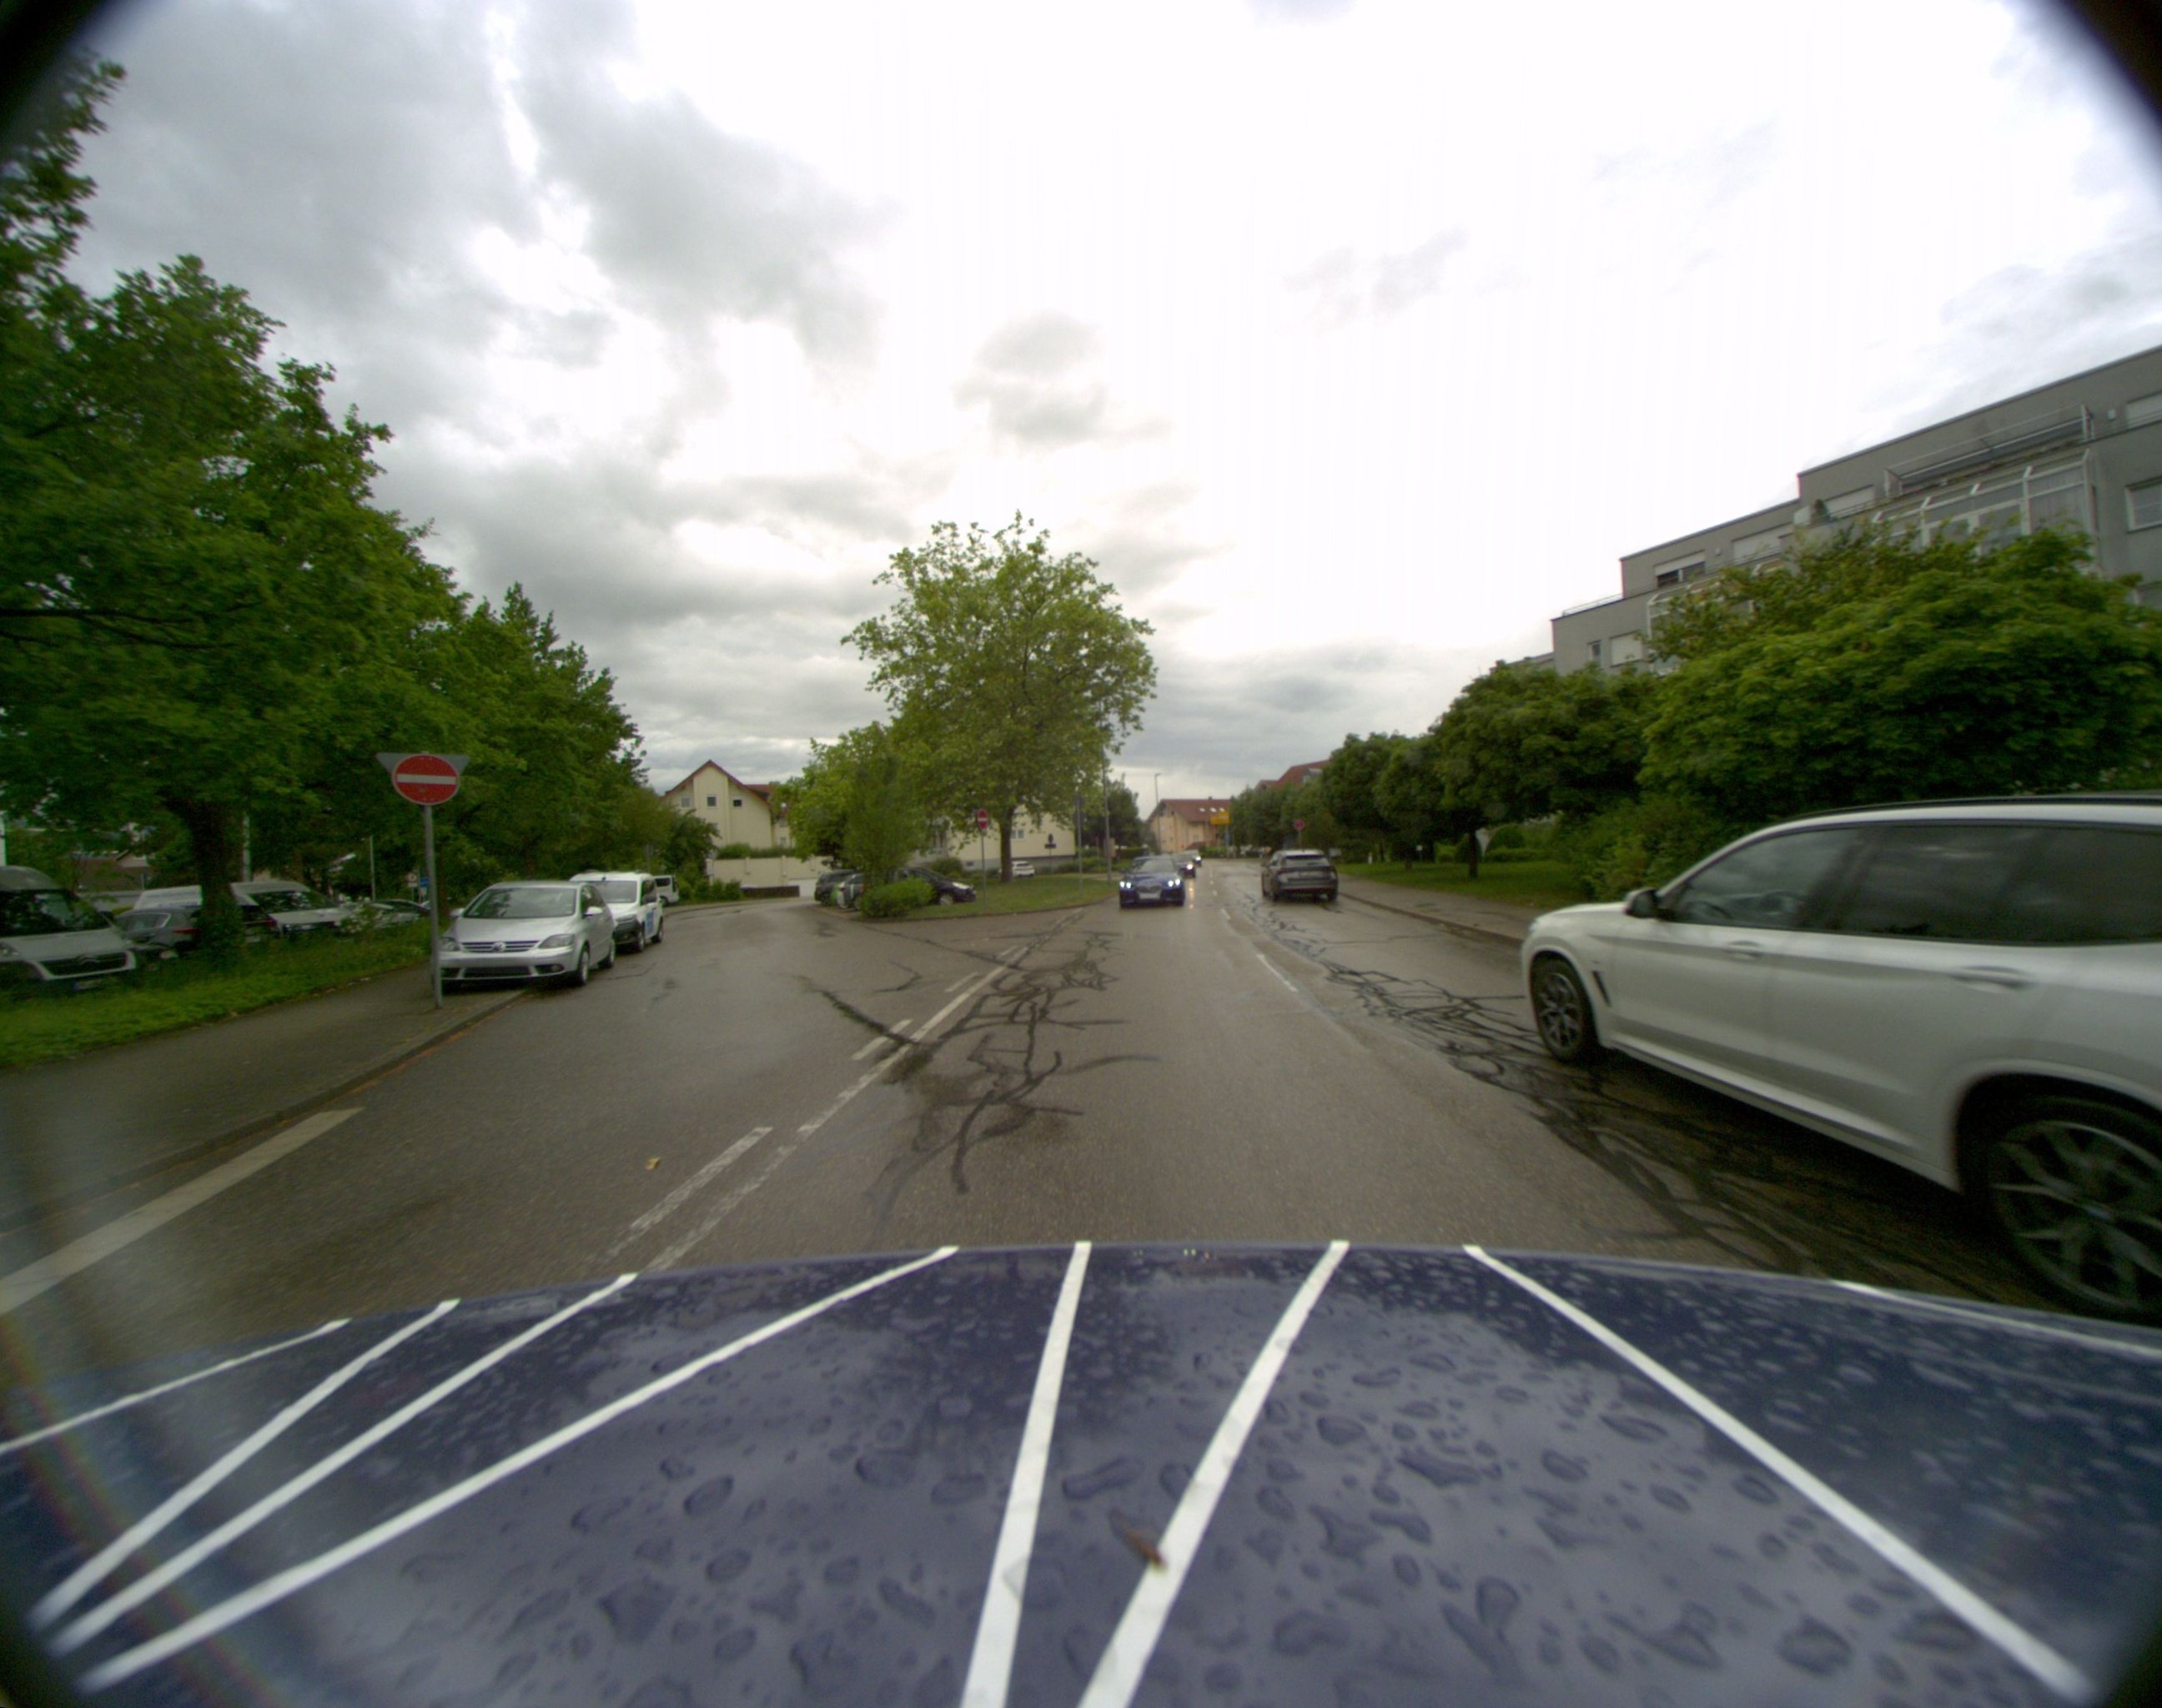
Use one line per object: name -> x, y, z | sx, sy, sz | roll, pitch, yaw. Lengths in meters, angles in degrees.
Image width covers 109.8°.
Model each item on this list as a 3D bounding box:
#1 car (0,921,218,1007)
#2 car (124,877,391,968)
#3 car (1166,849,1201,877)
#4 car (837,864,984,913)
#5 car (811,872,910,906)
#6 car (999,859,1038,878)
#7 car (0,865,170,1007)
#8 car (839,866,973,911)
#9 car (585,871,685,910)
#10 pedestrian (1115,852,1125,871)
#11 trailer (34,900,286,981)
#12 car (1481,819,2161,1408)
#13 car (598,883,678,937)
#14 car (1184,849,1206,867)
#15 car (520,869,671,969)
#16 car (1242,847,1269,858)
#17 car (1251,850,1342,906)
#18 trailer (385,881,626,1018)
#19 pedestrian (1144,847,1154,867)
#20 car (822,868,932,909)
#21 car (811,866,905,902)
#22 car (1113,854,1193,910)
car -> -19.209, 2.089, 14.369 | 3.996, 1.288, 1.650 | -3, 0, 4
car -> -21.154, 1.719, 19.666 | 4.761, 2.002, 2.000 | -3, 0, 3
car -> 6.226, 0.509, 45.749 | 1.839, 1.440, 4.003 | -3, 0, 10
car -> -5.837, 1.179, 26.274 | 4.583, 1.434, 1.765 | -3, 0, 4
car -> -10.249, 1.618, 35.525 | 4.018, 1.363, 1.765 | -3, 0, 4
car -> -5.071, 1.162, 61.487 | 1.749, 1.472, 3.761 | -2, 0, -27
car -> -18.322, 1.315, 11.765 | 5.835, 2.002, 2.000 | -3, 0, -1
car -> -6.575, 1.303, 28.869 | 4.583, 1.434, 1.765 | -3, 0, 4
car -> -27.340, 2.188, 46.759 | 5.002, 2.002, 2.082 | -3, 0, -23
pedestrian -> 3.660, 0.726, 71.394 | 0.615, 1.762, 0.670 | -4, 1, -16
trailer -> -20.118, 1.863, 16.656 | 3.994, 1.428, 1.713 | -3, 0, 10
car -> 4.015, 0.698, 3.496 | 1.895, 1.602, 4.866 | -4, 0, 3
car -> -13.823, 1.675, 23.893 | 1.768, 1.374, 4.179 | -3, 0, -26
car -> 11.125, 0.380, 74.416 | 1.840, 1.541, 4.001 | -4, 0, 5
car -> -10.851, 1.329, 17.339 | 2.002, 1.870, 4.205 | -3, 0, -21
car -> 27.111, -0.220, 118.396 | 1.741, 1.592, 3.991 | -2, 0, -31
car -> 6.239, 0.644, 22.472 | 1.744, 1.406, 4.143 | -3, 0, 5
trailer -> -8.604, 1.271, 11.867 | 2.002, 1.534, 4.417 | -3, 0, -25
pedestrian -> 5.932, 0.277, 66.173 | 0.591, 1.656, 0.775 | -4, 1, -7
car -> -8.455, 1.423, 31.741 | 4.018, 1.434, 1.765 | -3, 0, 4
car -> -11.323, 1.539, 38.628 | 4.285, 1.617, 1.766 | -3, 1, 20
car -> 2.300, 0.799, 23.326 | 1.911, 1.425, 4.304 | -3, 0, 12
